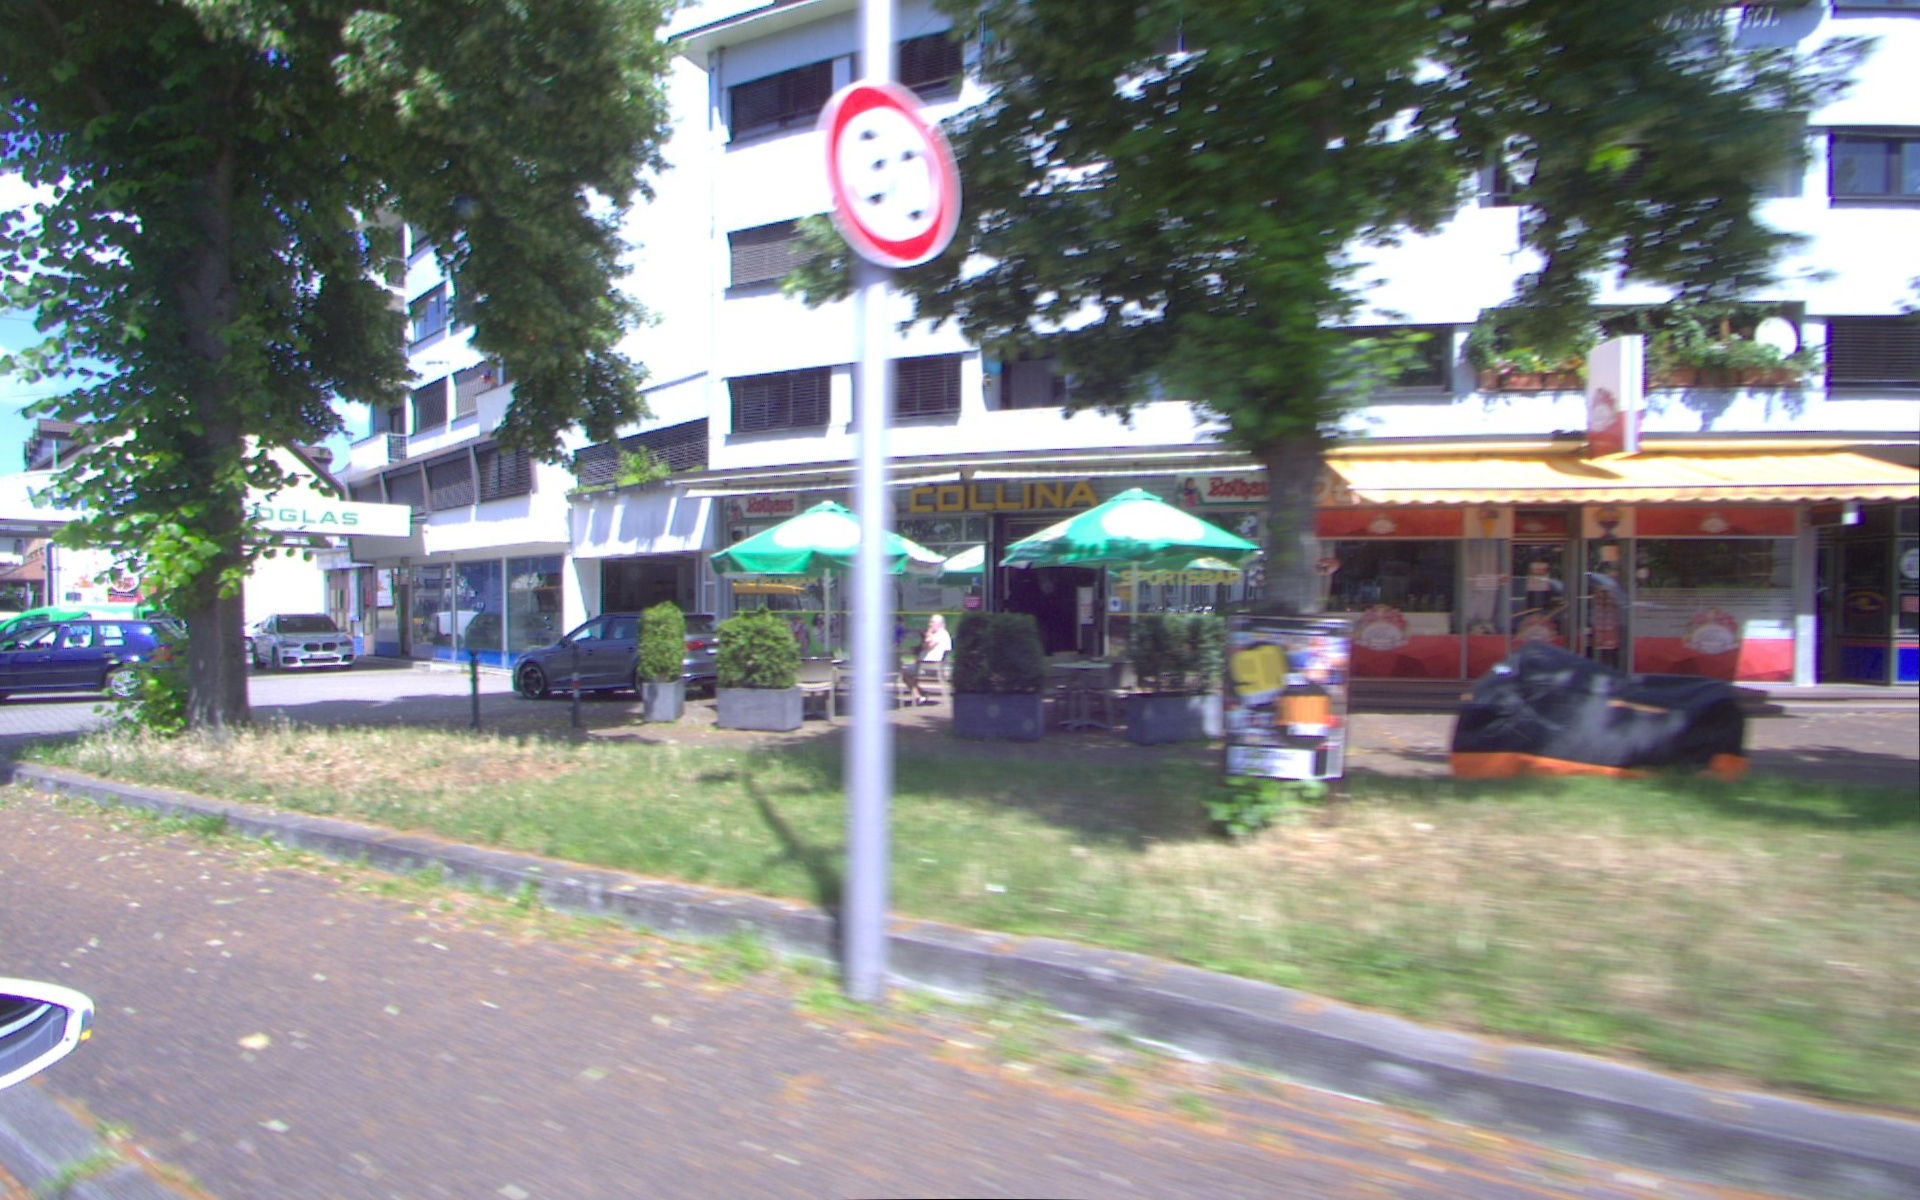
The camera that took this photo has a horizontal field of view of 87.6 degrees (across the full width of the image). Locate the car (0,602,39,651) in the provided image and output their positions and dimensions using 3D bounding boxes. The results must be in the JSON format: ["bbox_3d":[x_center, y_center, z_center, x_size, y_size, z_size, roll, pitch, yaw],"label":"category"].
[{"bbox_3d":[-38.334,0.999,38.360,1.976,1.833,4.285,2,0,41],"label":"car"}]

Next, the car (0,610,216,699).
[{"bbox_3d":[-16.059,0.934,17.849,4.104,1.458,1.896,0,0,-23],"label":"car"}]

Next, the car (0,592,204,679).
[{"bbox_3d":[-19.459,0.759,22.172,3.947,1.818,1.841,0,0,-4],"label":"car"}]

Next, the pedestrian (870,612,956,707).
[{"bbox_3d":[-0.676,0.840,14.546,0.999,1.322,0.814,0,0,21],"label":"pedestrian"}]

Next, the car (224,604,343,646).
[{"bbox_3d":[-31.963,1.190,47.373,1.976,1.833,4.286,2,0,40],"label":"car"}]

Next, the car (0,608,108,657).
[{"bbox_3d":[-30.287,1.028,32.293,1.797,1.538,3.921,-1,0,32],"label":"car"}]

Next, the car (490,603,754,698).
[{"bbox_3d":[-5.755,0.815,16.979,4.293,1.447,1.702,-1,-1,26],"label":"car"}]

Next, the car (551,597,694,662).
[{"bbox_3d":[-9.169,0.763,26.995,1.981,1.606,4.338,0,-1,-45],"label":"car"}]

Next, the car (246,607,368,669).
[{"bbox_3d":[-18.636,1.035,28.492,4.243,1.616,1.997,-1,-1,43],"label":"car"}]
